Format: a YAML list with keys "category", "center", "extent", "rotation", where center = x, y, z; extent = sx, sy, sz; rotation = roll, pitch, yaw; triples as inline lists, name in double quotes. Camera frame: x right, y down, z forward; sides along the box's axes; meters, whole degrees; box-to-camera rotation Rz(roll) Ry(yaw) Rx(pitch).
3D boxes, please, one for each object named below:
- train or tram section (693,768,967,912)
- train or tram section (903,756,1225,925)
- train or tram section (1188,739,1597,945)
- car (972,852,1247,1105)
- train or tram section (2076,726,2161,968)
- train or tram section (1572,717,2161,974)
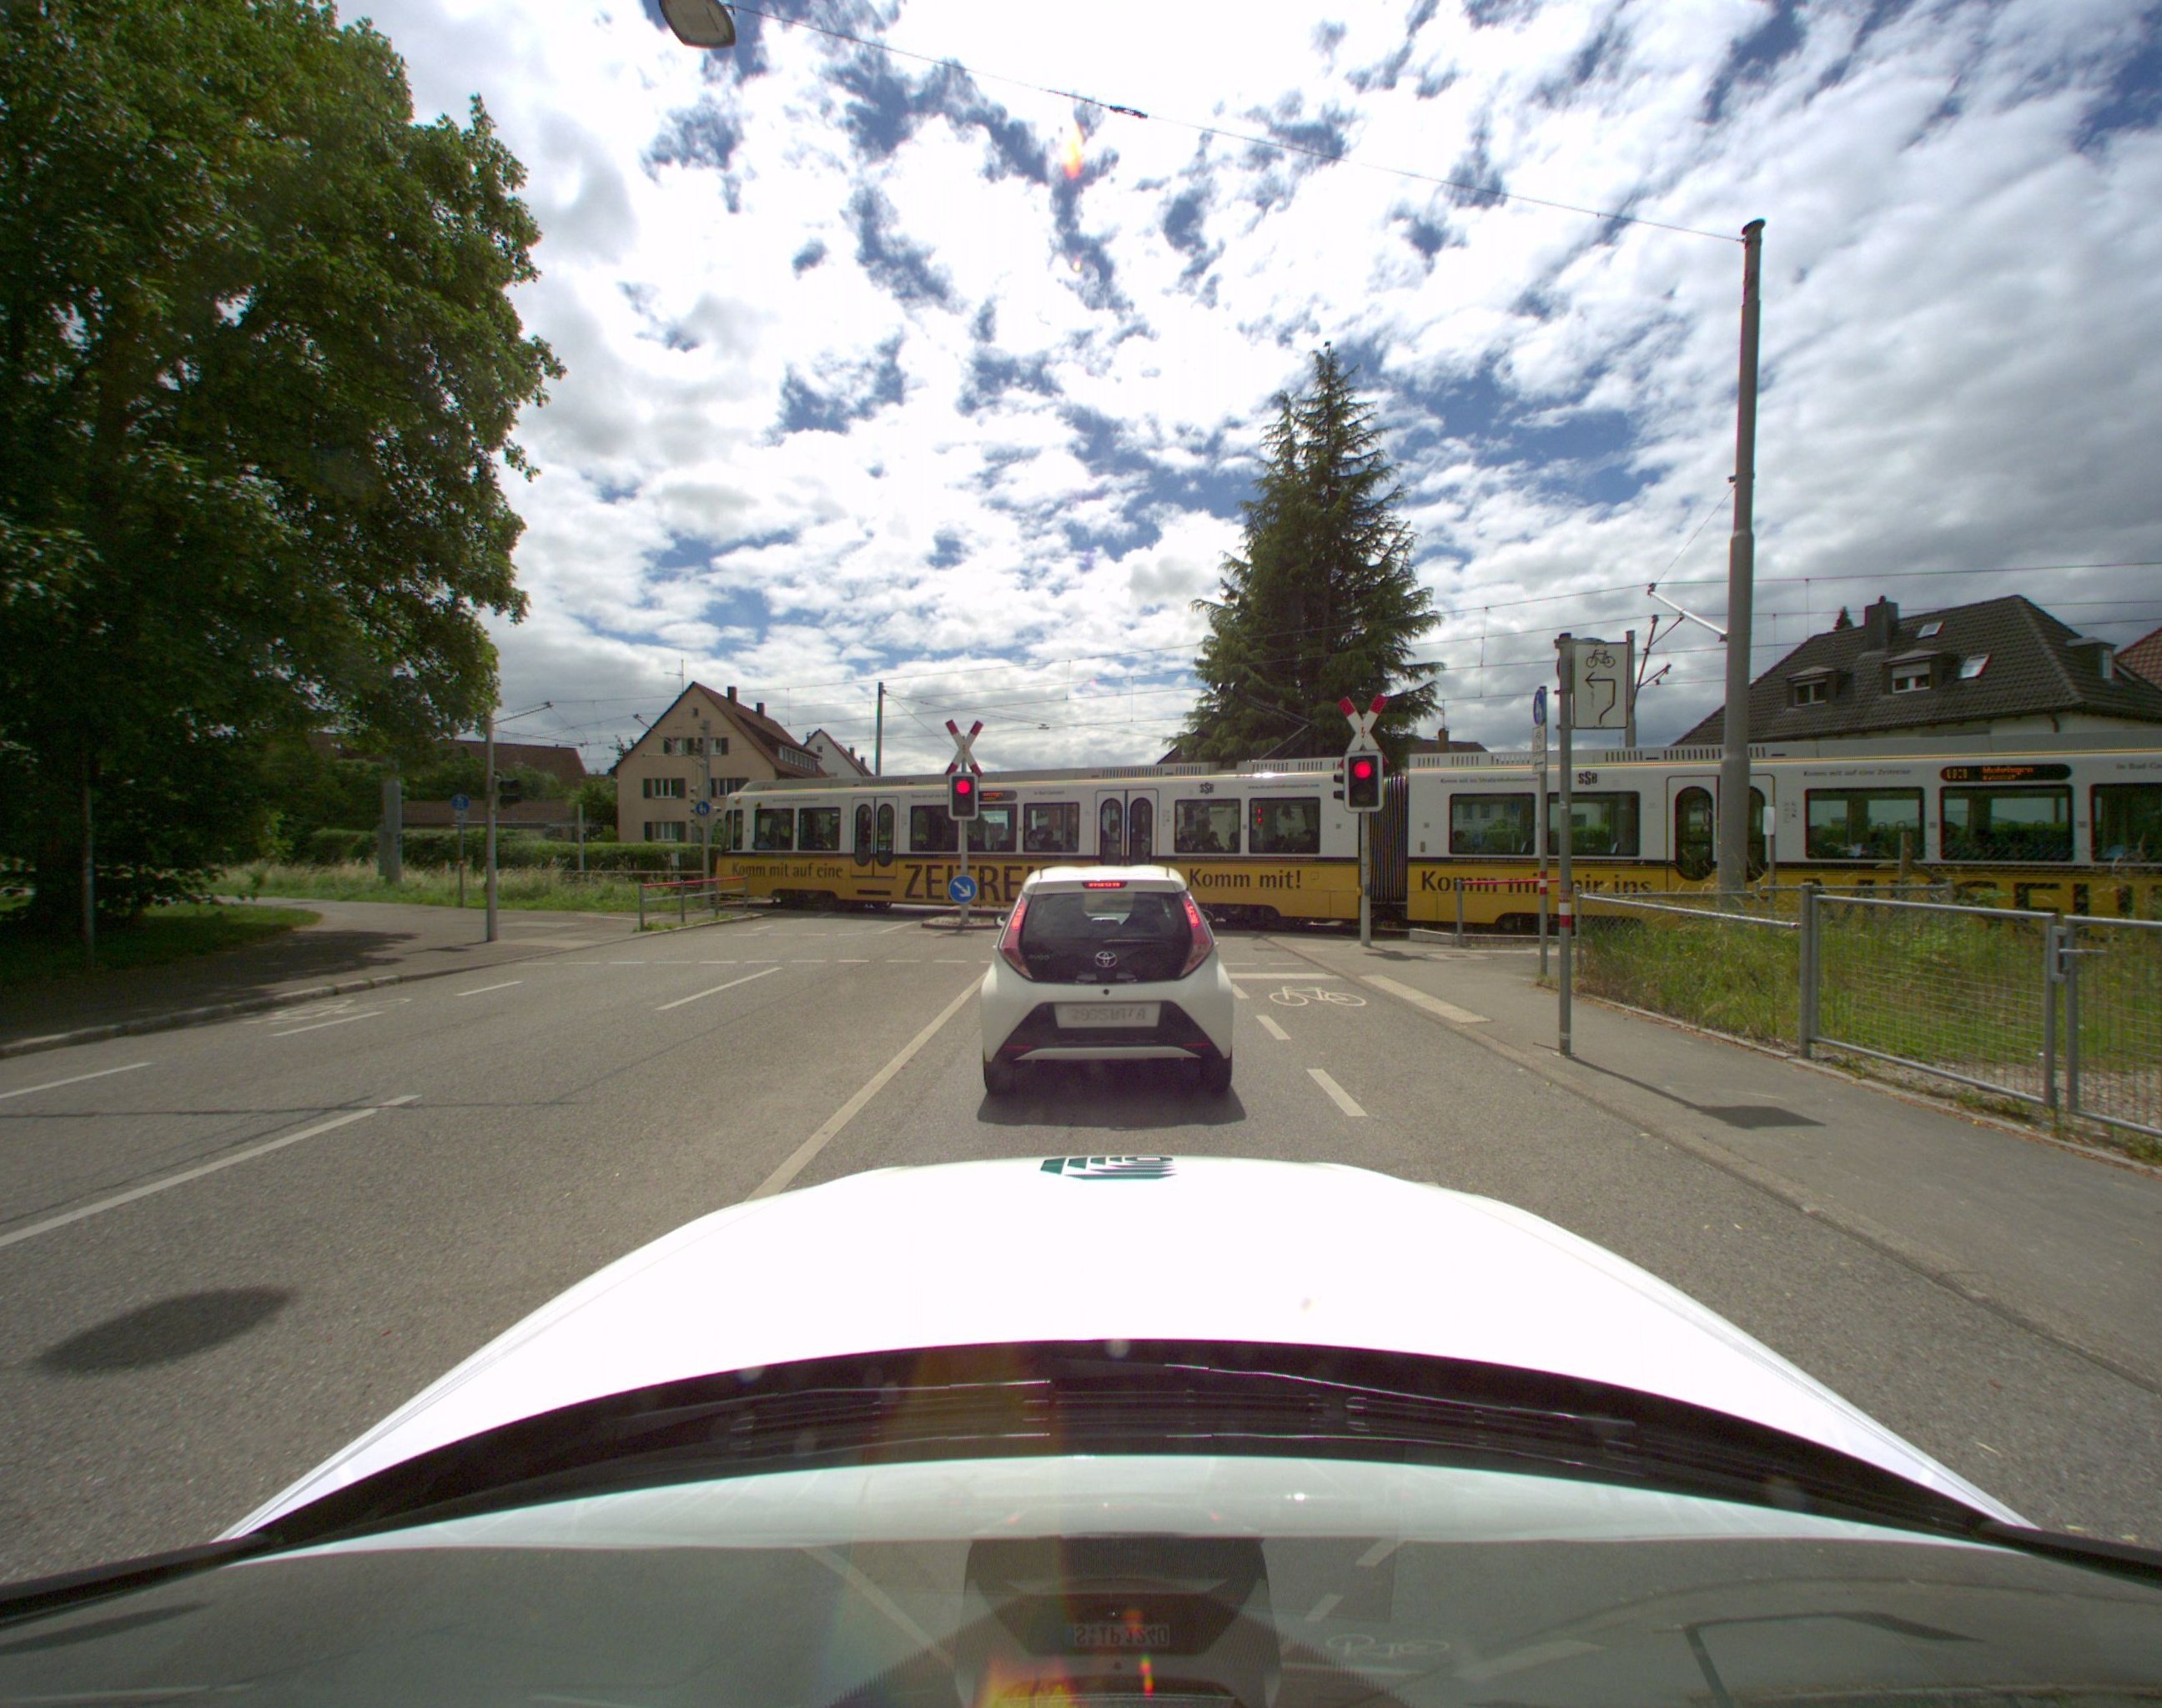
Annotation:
- category: "train or tram section"
  center: [-7.408, -0.406, 23.879]
  extent: [7.622, 3.721, 2.886]
  rotation: [1, 0, 24]
- category: "train or tram section"
  center: [-0.476, -0.336, 20.719]
  extent: [7.622, 3.721, 2.886]
  rotation: [1, 0, 24]
- category: "train or tram section"
  center: [6.429, -0.255, 17.582]
  extent: [7.622, 3.721, 2.886]
  rotation: [1, 0, 24]
- category: "car"
  center: [0.230, 0.759, 6.845]
  extent: [1.615, 1.486, 4.001]
  rotation: [-1, -1, 2]
- category: "train or tram section"
  center: [20.260, -0.069, 11.345]
  extent: [7.622, 3.721, 2.886]
  rotation: [1, 0, 24]
- category: "train or tram section"
  center: [13.345, -0.158, 14.454]
  extent: [7.622, 3.721, 2.886]
  rotation: [1, 0, 24]
